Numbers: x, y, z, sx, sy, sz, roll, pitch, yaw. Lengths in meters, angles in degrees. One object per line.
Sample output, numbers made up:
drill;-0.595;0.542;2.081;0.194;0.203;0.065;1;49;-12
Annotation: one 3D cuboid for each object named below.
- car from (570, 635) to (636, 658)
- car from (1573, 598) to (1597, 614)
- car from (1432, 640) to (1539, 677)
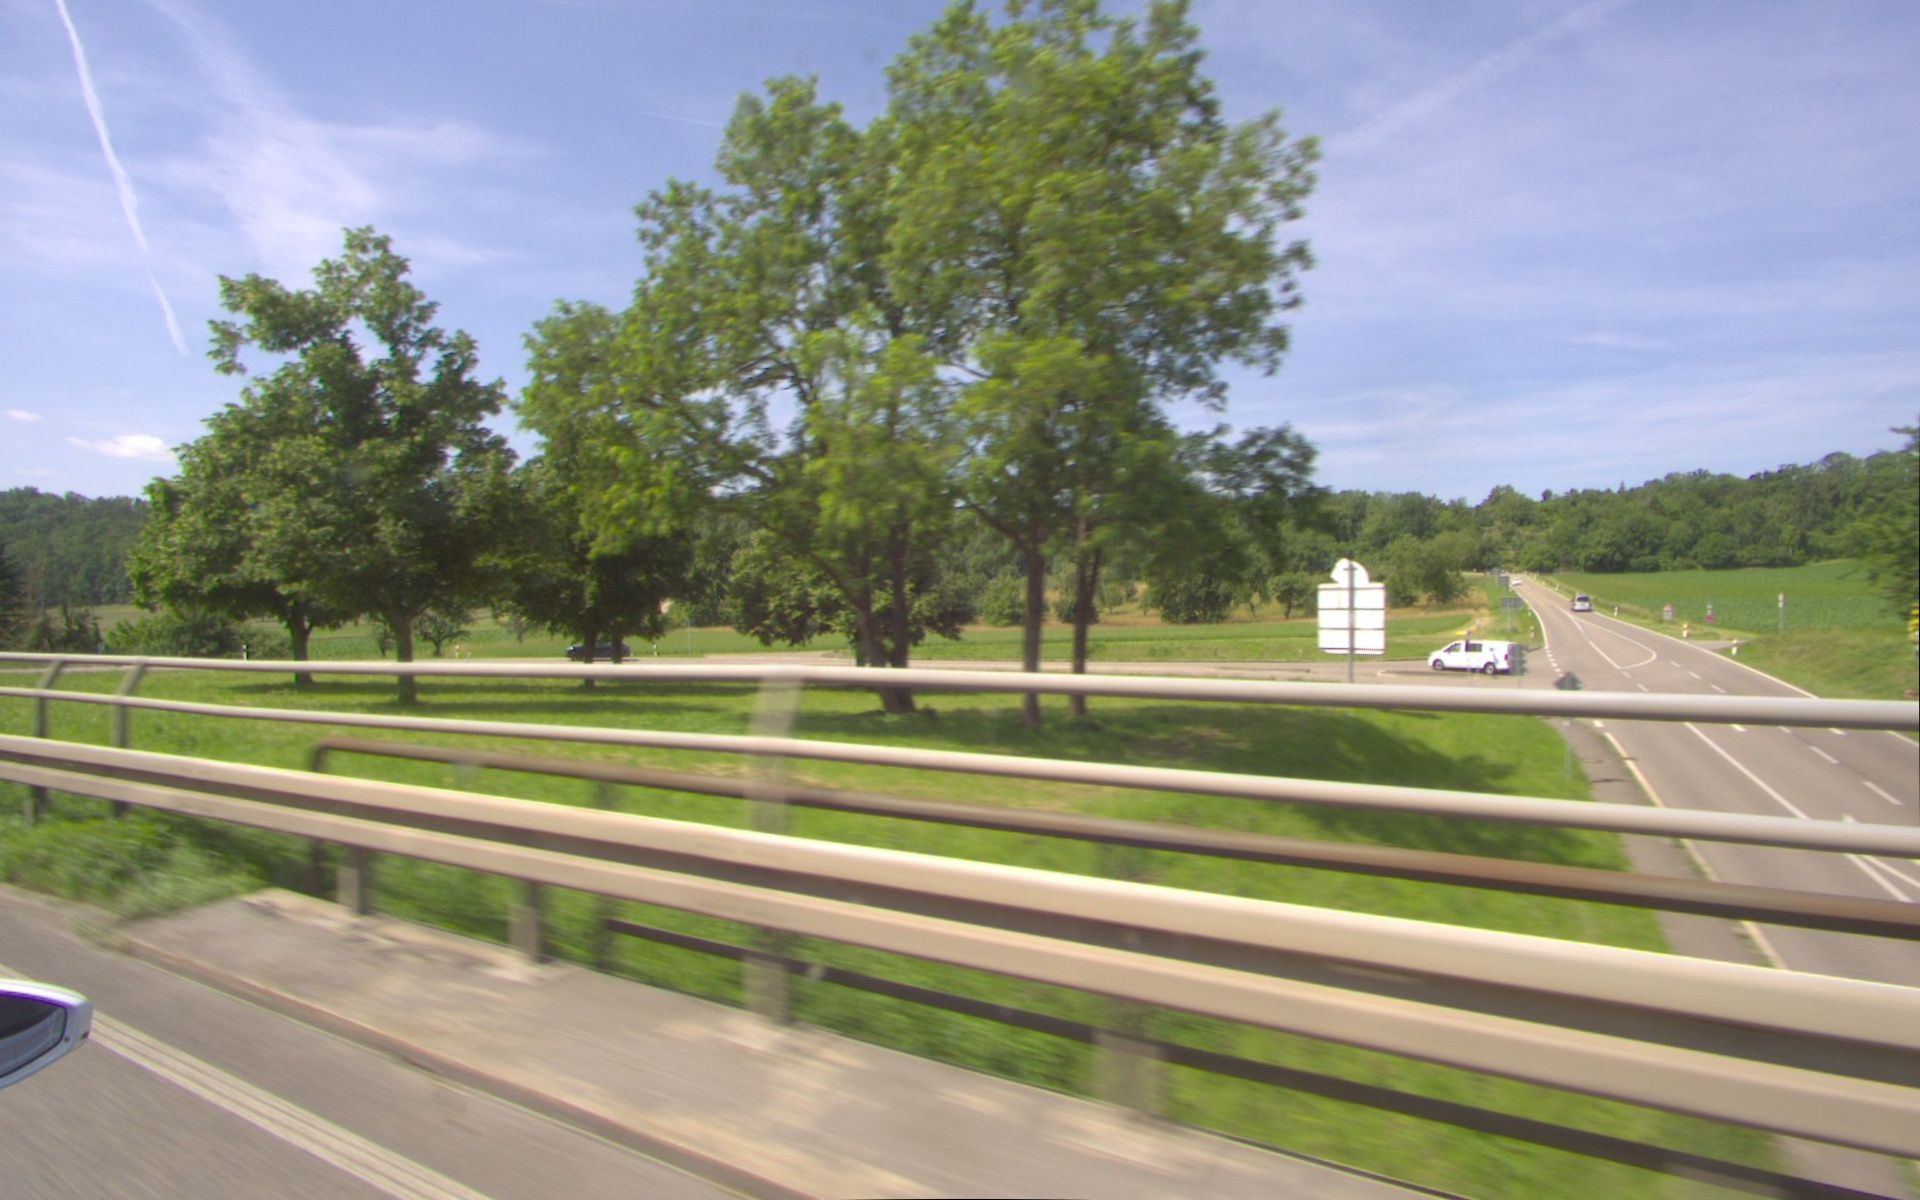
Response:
car;-26.440;3.461;74.348;4.349;1.610;2.061;1;-1;-14
car;70.002;0.612;112.219;1.782;1.571;3.984;0;3;25
car;31.278;3.446;59.724;1.973;1.871;5.386;-1;0;-34
